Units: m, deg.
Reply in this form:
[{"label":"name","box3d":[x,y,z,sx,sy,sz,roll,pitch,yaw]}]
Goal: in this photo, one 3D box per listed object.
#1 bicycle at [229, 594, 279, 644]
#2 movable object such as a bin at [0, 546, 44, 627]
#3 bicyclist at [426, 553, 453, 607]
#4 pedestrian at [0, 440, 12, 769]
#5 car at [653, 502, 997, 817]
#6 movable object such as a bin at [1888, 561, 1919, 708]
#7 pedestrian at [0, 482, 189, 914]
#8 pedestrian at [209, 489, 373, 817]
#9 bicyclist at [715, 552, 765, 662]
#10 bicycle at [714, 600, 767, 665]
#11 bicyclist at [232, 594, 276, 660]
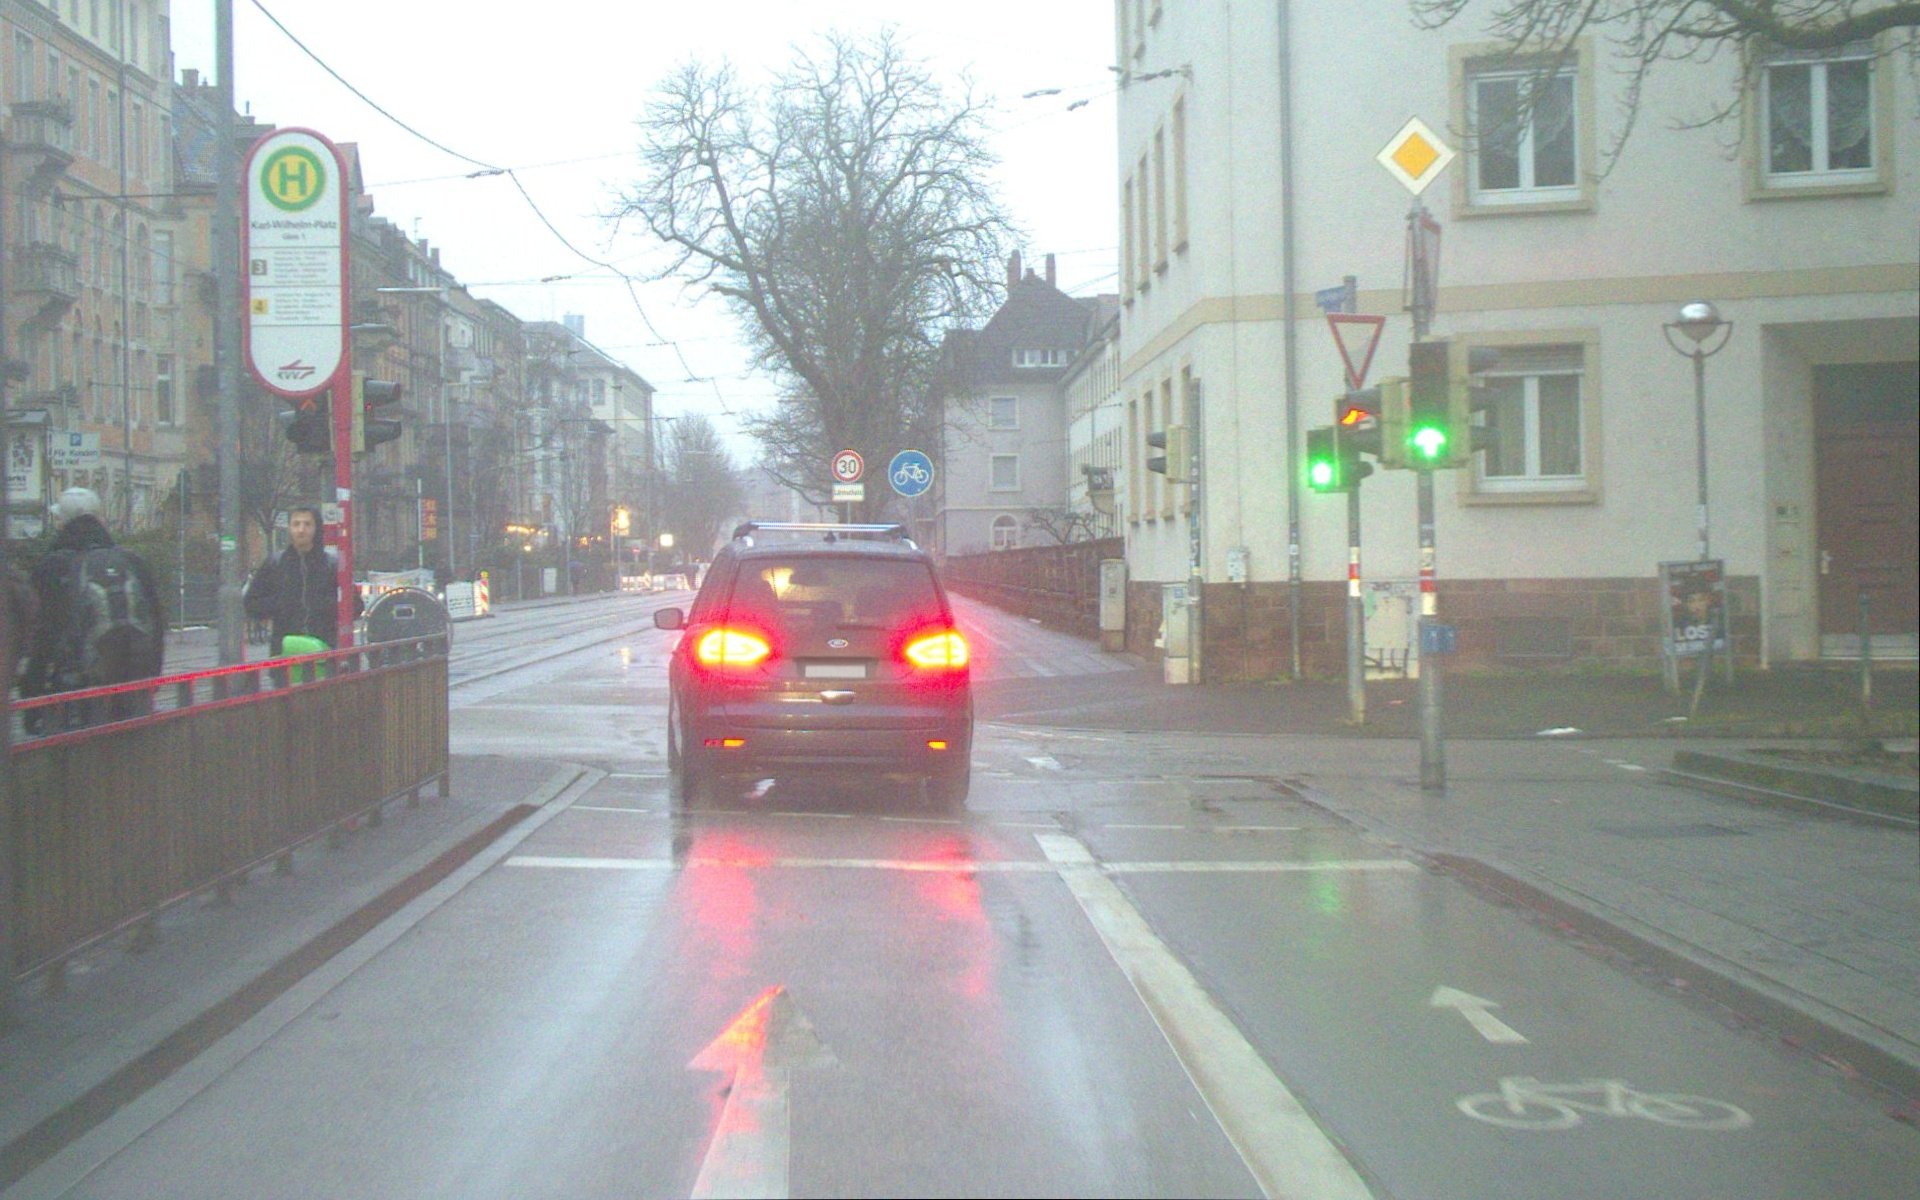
[{"label":"bicycle","box3d":[-14.846,0.399,72.332,0.681,1.003,1.803,-1,1,0]},{"label":"movable object such as a bin","box3d":[-19.012,-0.271,68.285,1.244,1.580,1.307,0,1,4]},{"label":"bicyclist","box3d":[-15.603,-0.607,103.086,0.683,1.610,0.765,0,0,0]},{"label":"pedestrian","box3d":[-3.431,0.371,11.036,0.557,1.801,0.571,2,0,-1]},{"label":"car","box3d":[-0.995,0.337,22.944,1.801,1.864,4.019,2,1,-9]},{"label":"movable object such as a bin","box3d":[8.484,0.309,29.439,0.853,1.247,0.521,3,1,41]},{"label":"pedestrian","box3d":[-3.566,0.388,14.017,0.657,1.702,0.571,2,0,-1]},{"label":"pedestrian","box3d":[-4.009,0.309,20.624,0.687,1.911,0.717,2,0,10]},{"label":"bicyclist","box3d":[-3.487,0.104,54.553,0.730,1.730,0.765,0,0,0]},{"label":"bicycle","box3d":[-3.486,0.506,54.590,0.731,1.003,1.764,0,1,0]},{"label":"bicyclist","box3d":[-14.858,0.560,72.378,0.704,1.359,0.944,1,0,0]}]
